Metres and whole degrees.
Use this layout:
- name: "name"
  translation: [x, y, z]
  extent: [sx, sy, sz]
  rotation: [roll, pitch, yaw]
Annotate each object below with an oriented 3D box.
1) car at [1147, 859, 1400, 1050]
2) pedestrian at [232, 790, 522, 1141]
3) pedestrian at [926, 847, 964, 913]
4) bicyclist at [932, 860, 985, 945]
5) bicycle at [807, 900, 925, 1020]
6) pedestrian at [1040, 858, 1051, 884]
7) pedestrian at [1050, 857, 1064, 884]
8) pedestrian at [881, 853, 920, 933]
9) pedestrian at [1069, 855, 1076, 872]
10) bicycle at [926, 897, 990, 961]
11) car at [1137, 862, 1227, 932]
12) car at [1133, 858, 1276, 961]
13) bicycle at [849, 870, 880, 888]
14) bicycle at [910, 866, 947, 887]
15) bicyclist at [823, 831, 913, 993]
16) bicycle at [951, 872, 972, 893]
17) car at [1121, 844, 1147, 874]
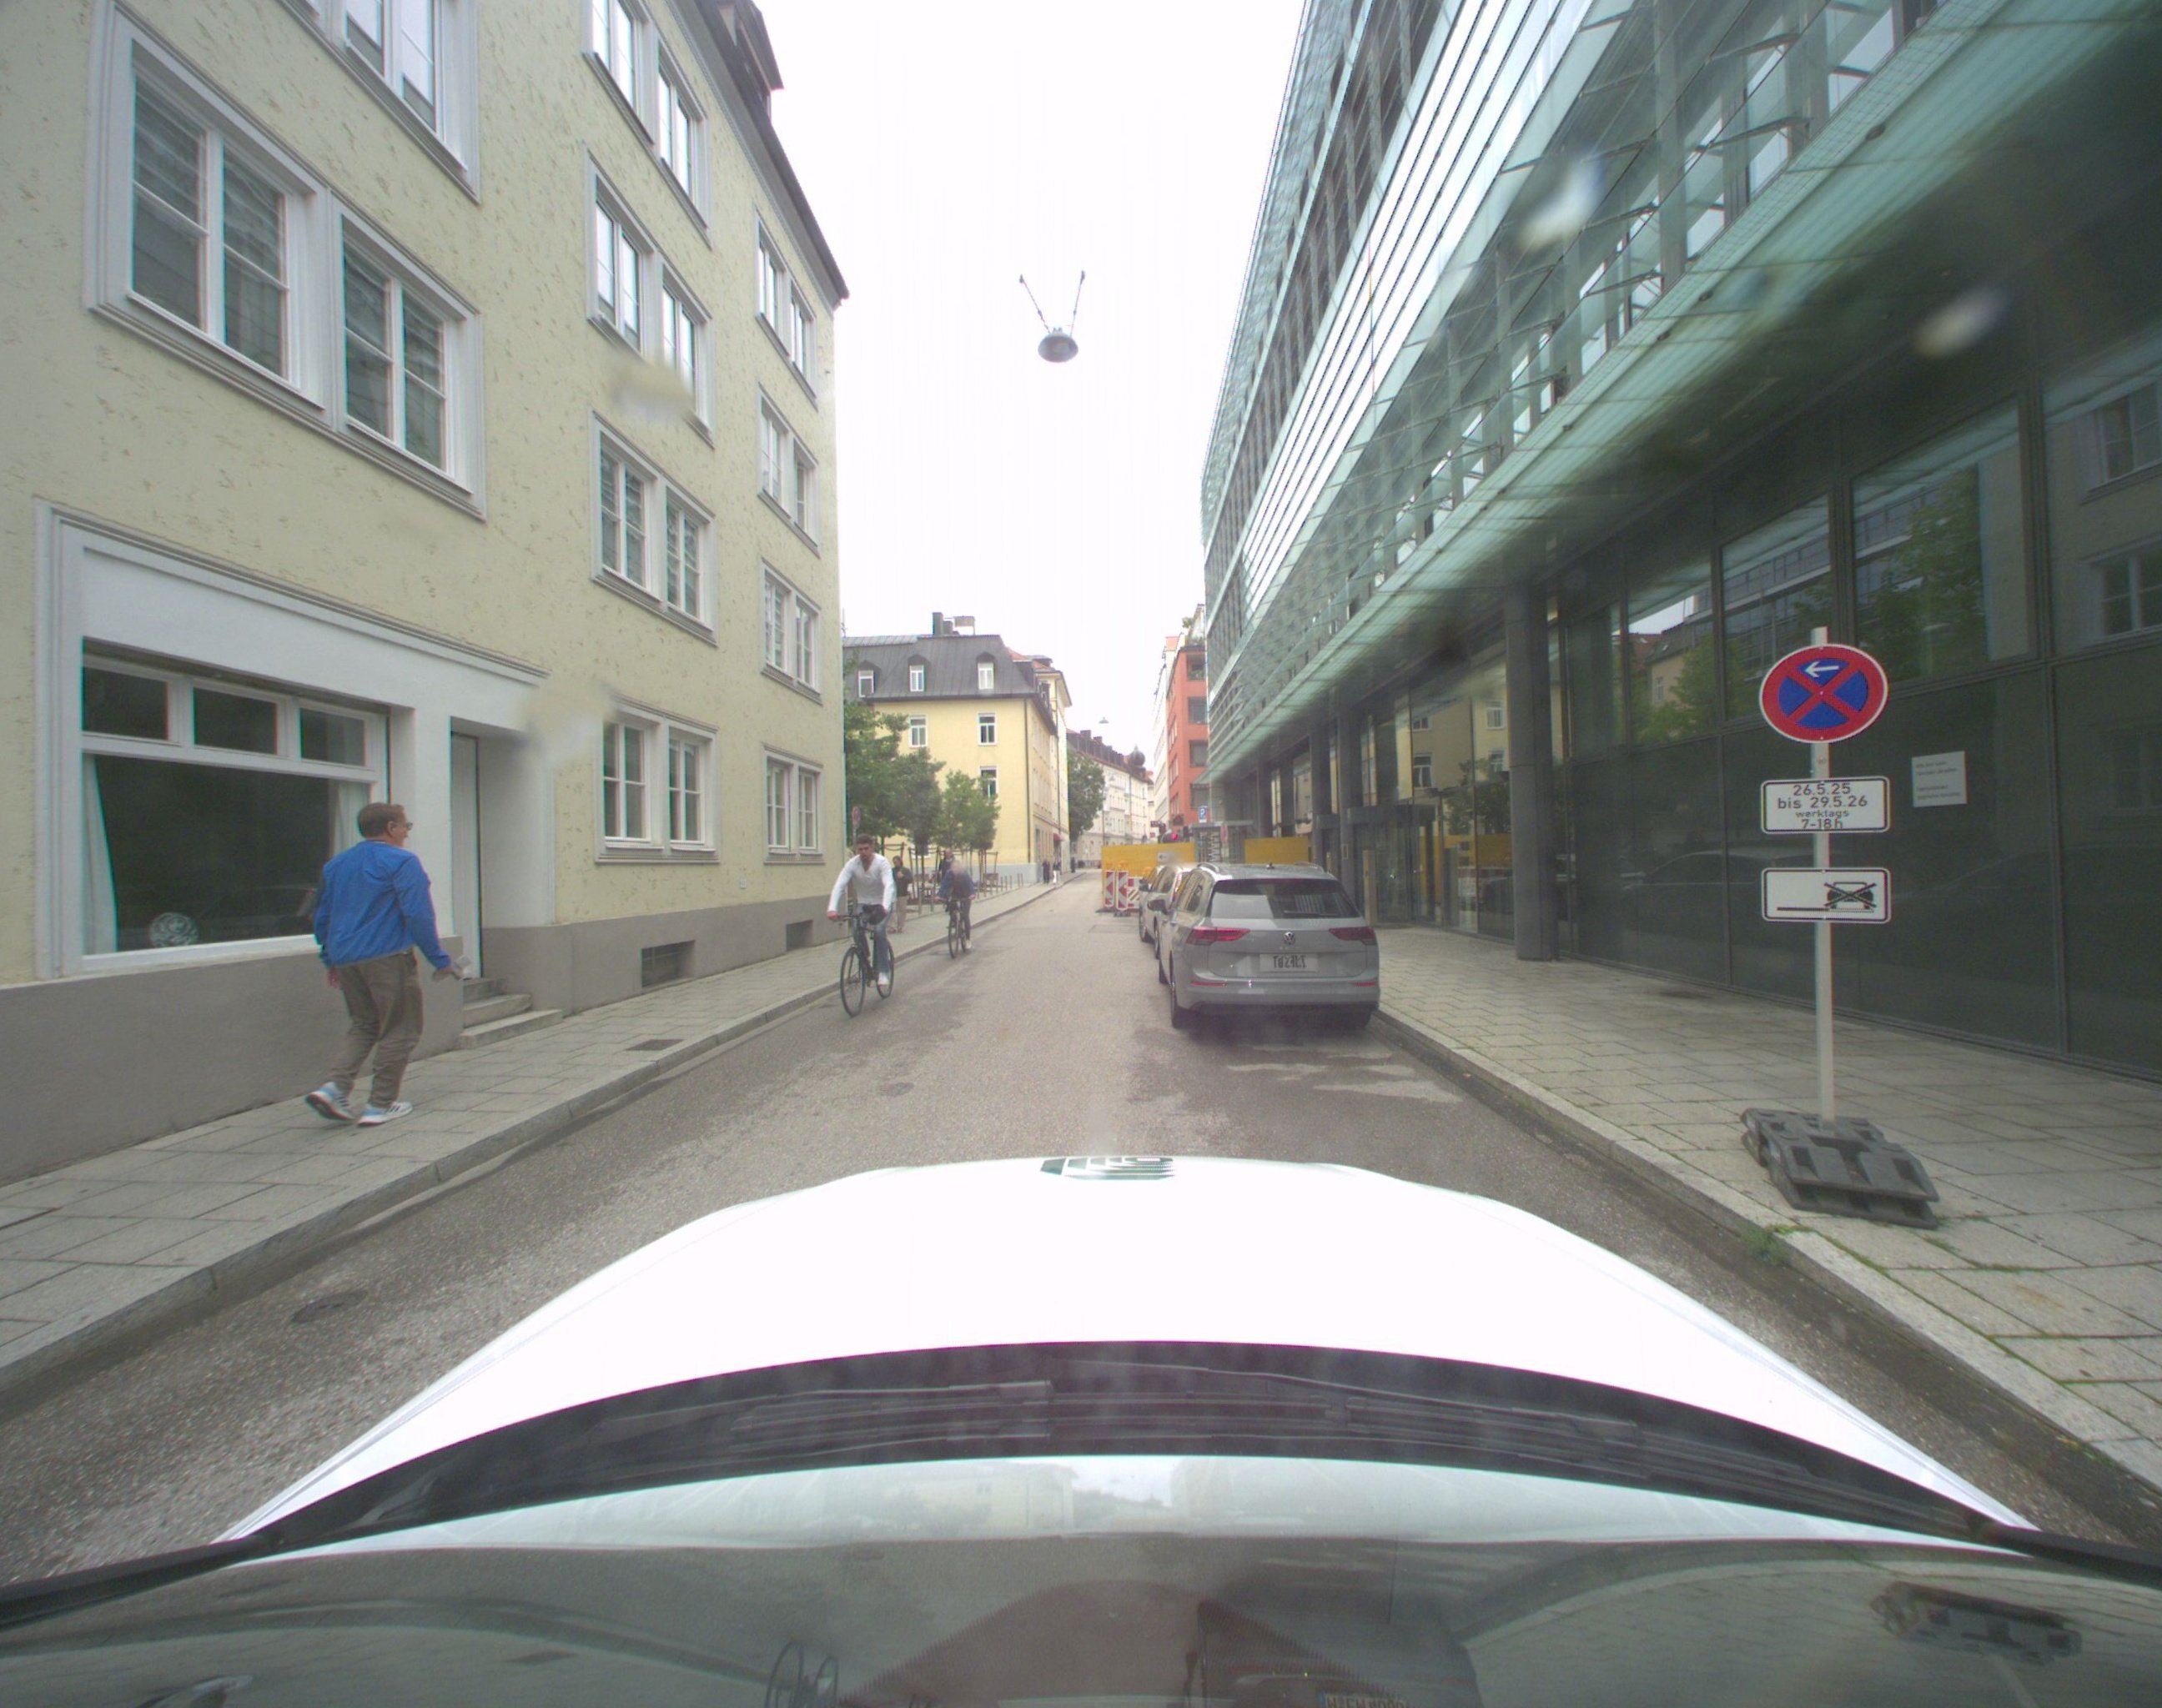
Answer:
- name: "car"
  translation: [1.652, 0.795, 8.440]
  extent: [1.701, 1.432, 4.331]
  rotation: [-2, -1, 2]
- name: "pedestrian"
  translation: [-4.104, 0.595, 4.860]
  extent: [0.754, 1.854, 1.077]
  rotation: [0, -1, 2]
- name: "pedestrian"
  translation: [-3.926, 0.746, 23.665]
  extent: [0.864, 1.881, 1.135]
  rotation: [-1, -1, 1]
- name: "bicyclist"
  translation: [-2.057, 0.797, 13.733]
  extent: [0.705, 1.371, 0.813]
  rotation: [-2, -1, 2]
- name: "bicycle"
  translation: [-2.277, 1.086, 8.888]
  extent: [0.658, 1.039, 2.005]
  rotation: [-2, -1, 2]
- name: "pedestrian"
  translation: [-2.286, 1.058, 52.324]
  extent: [0.668, 1.648, 0.762]
  rotation: [-1, -1, 1]
- name: "pedestrian"
  translation: [-1.530, 1.053, 52.108]
  extent: [0.836, 1.700, 0.803]
  rotation: [-1, -1, 2]
- name: "pedestrian"
  translation: [-3.886, 0.830, 17.600]
  extent: [0.645, 1.676, 0.724]
  rotation: [-1, -1, 1]
- name: "pedestrian"
  translation: [-0.870, 0.962, 84.016]
  extent: [0.632, 1.675, 0.518]
  rotation: [-1, -1, 2]
- name: "bicycle"
  translation: [-2.037, 1.225, 13.738]
  extent: [0.705, 0.905, 1.810]
  rotation: [-2, -1, 2]
- name: "car"
  translation: [2.224, 0.907, 18.886]
  extent: [1.701, 1.414, 4.512]
  rotation: [0, -1, 2]
- name: "car"
  translation: [1.902, 0.818, 13.732]
  extent: [1.702, 1.467, 4.235]
  rotation: [0, -1, -1]
- name: "bicycle"
  translation: [-12.782, 1.470, 48.115]
  extent: [1.647, 1.069, 0.599]
  rotation: [-1, -1, 6]
- name: "bicycle"
  translation: [-9.042, 1.314, 48.278]
  extent: [2.031, 1.198, 0.571]
  rotation: [-1, -1, 9]
- name: "bicyclist"
  translation: [-2.286, 0.597, 8.816]
  extent: [0.657, 1.643, 0.895]
  rotation: [-2, -1, 2]
- name: "bicycle"
  translation: [-6.736, 1.593, 46.017]
  extent: [0.507, 1.144, 2.058]
  rotation: [-1, -1, 10]
- name: "car"
  translation: [4.586, 0.444, 70.999]
  extent: [1.986, 2.537, 4.977]
  rotation: [-1, 0, 2]
